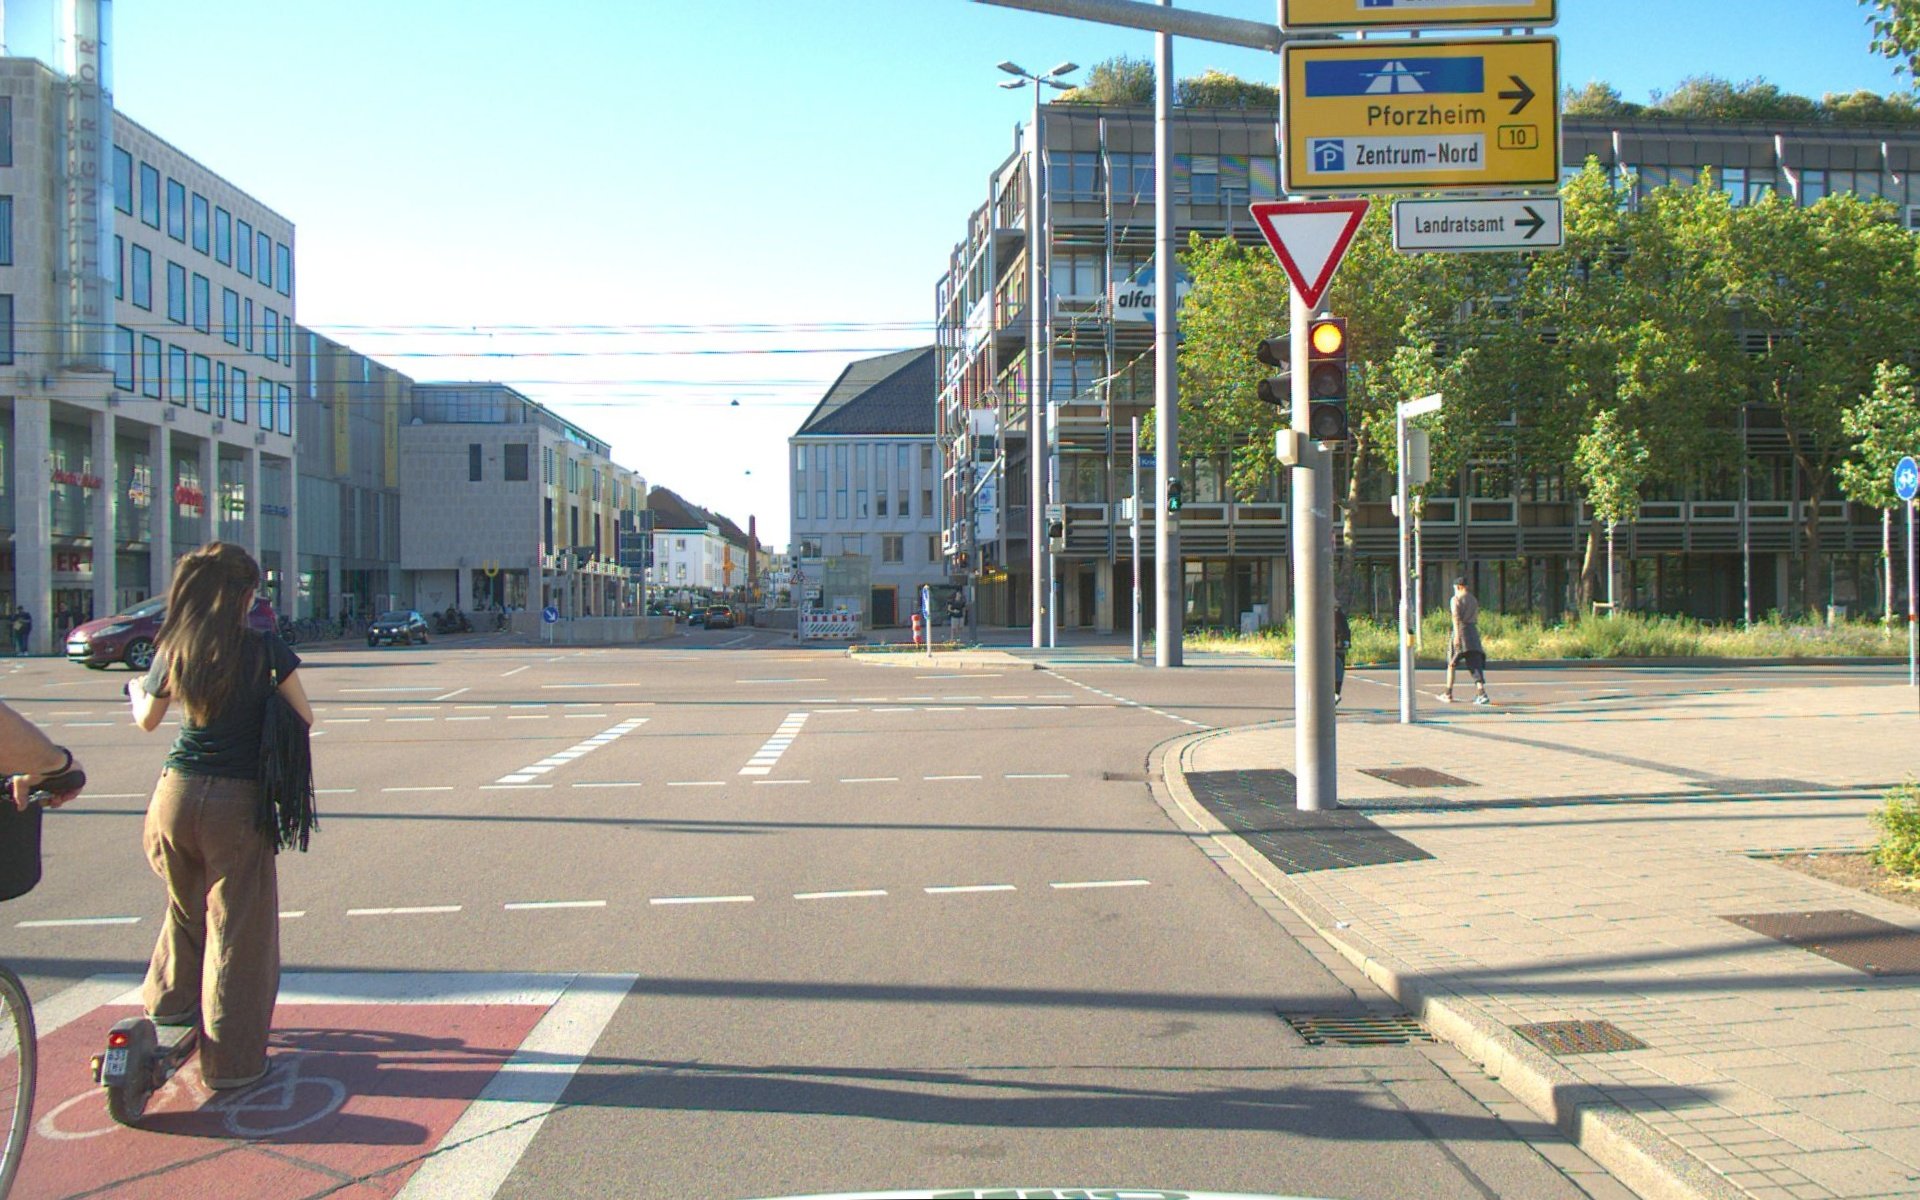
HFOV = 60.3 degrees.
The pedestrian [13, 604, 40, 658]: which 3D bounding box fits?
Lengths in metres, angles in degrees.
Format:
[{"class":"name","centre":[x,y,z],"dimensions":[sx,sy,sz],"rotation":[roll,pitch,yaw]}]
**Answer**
[{"class":"pedestrian","centre":[-32.795,1.091,58.137],"dimensions":[0.787,1.876,0.856],"rotation":[0,0,-29]}]

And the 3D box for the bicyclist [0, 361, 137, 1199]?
[{"class":"bicyclist","centre":[-1.977,0.461,2.860],"dimensions":[0.647,1.750,0.865],"rotation":[1,-1,-1]}]

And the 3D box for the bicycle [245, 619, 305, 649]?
[{"class":"bicycle","centre":[-29.293,1.451,70.762],"dimensions":[2.260,1.244,0.611],"rotation":[0,0,-3]}]

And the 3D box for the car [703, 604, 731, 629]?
[{"class":"car","centre":[-15.829,1.076,107.953],"dimensions":[1.705,1.558,3.849],"rotation":[1,0,-8]}]

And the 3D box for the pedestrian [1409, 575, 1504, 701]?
[{"class":"pedestrian","centre":[6.863,0.518,22.905],"dimensions":[0.864,1.694,0.960],"rotation":[1,-1,-16]}]

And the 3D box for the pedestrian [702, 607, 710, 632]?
[{"class":"pedestrian","centre":[-17.897,1.382,116.689],"dimensions":[0.511,1.709,0.582],"rotation":[1,0,-8]}]

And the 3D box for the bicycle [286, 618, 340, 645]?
[{"class":"bicycle","centre":[-30.067,1.465,76.854],"dimensions":[2.260,1.244,0.611],"rotation":[0,0,-3]}]

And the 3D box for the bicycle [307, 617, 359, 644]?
[{"class":"bicycle","centre":[-30.337,1.475,80.057],"dimensions":[2.260,1.244,0.611],"rotation":[0,0,-3]}]

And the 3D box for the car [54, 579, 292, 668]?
[{"class":"car","centre":[-15.209,0.423,32.129],"dimensions":[1.626,1.613,3.883],"rotation":[-1,0,36]}]

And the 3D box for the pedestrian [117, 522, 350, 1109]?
[{"class":"pedestrian","centre":[-2.186,0.614,5.036],"dimensions":[0.540,1.661,0.569],"rotation":[1,-1,-16]}]

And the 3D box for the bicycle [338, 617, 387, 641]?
[{"class":"bicycle","centre":[-30.819,1.491,85.344],"dimensions":[2.260,1.244,0.611],"rotation":[0,0,-3]}]

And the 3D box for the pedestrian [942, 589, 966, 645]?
[{"class":"pedestrian","centre":[-0.205,0.586,57.305],"dimensions":[0.772,1.923,0.644],"rotation":[1,-1,-1]}]

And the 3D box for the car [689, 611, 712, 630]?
[{"class":"car","centre":[-23.993,1.870,152.881],"dimensions":[1.762,1.686,3.996],"rotation":[1,0,-5]}]

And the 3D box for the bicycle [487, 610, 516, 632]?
[{"class":"bicycle","centre":[-27.005,1.235,97.465],"dimensions":[0.500,1.228,1.808],"rotation":[1,0,28]}]

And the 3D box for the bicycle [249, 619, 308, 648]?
[{"class":"bicycle","centre":[-29.506,1.451,71.639],"dimensions":[2.260,1.244,0.611],"rotation":[0,0,-3]}]

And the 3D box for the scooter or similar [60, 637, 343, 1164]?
[{"class":"scooter or similar","centre":[-2.177,0.782,4.868],"dimensions":[0.538,1.316,1.189],"rotation":[1,0,-15]}]

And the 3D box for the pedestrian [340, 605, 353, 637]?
[{"class":"pedestrian","centre":[-33.423,1.150,90.148],"dimensions":[0.544,1.709,0.606],"rotation":[1,0,-11]}]

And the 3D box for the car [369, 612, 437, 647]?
[{"class":"car","centre":[-23.380,1.220,69.491],"dimensions":[1.597,1.365,3.998],"rotation":[-3,0,-3]}]

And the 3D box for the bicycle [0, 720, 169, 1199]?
[{"class":"bicycle","centre":[-2.080,0.865,2.935],"dimensions":[0.475,1.176,1.831],"rotation":[1,0,-1]}]

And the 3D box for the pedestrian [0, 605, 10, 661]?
[{"class":"pedestrian","centre":[-33.052,1.125,56.755],"dimensions":[0.706,1.918,0.780],"rotation":[1,-1,-28]}]

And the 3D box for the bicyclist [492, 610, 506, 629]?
[{"class":"bicyclist","centre":[-27.107,1.132,97.253],"dimensions":[0.500,1.103,0.624],"rotation":[1,0,29]}]

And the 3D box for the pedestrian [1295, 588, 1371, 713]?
[{"class":"pedestrian","centre":[4.629,0.622,20.577],"dimensions":[0.772,1.518,0.644],"rotation":[1,-1,-1]}]

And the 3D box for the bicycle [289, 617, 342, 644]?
[{"class":"bicycle","centre":[-30.717,1.463,78.824],"dimensions":[2.260,1.244,0.611],"rotation":[0,0,-3]}]

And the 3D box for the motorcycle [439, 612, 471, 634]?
[{"class":"motorcycle","centre":[-29.765,1.347,97.482],"dimensions":[1.775,1.228,0.509],"rotation":[1,0,-16]}]

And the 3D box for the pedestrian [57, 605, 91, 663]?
[{"class":"pedestrian","centre":[-31.702,1.210,59.187],"dimensions":[0.868,2.049,0.771],"rotation":[1,-1,-12]}]

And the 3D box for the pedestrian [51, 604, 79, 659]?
[{"class":"pedestrian","centre":[-31.173,1.082,57.610],"dimensions":[0.788,1.876,0.854],"rotation":[0,0,-33]}]

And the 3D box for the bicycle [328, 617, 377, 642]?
[{"class":"bicycle","centre":[-30.930,1.484,84.273],"dimensions":[2.260,1.244,0.611],"rotation":[0,0,-3]}]

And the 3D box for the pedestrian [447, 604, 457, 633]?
[{"class":"pedestrian","centre":[-30.102,1.093,98.084],"dimensions":[0.512,1.709,0.581],"rotation":[1,0,-14]}]
